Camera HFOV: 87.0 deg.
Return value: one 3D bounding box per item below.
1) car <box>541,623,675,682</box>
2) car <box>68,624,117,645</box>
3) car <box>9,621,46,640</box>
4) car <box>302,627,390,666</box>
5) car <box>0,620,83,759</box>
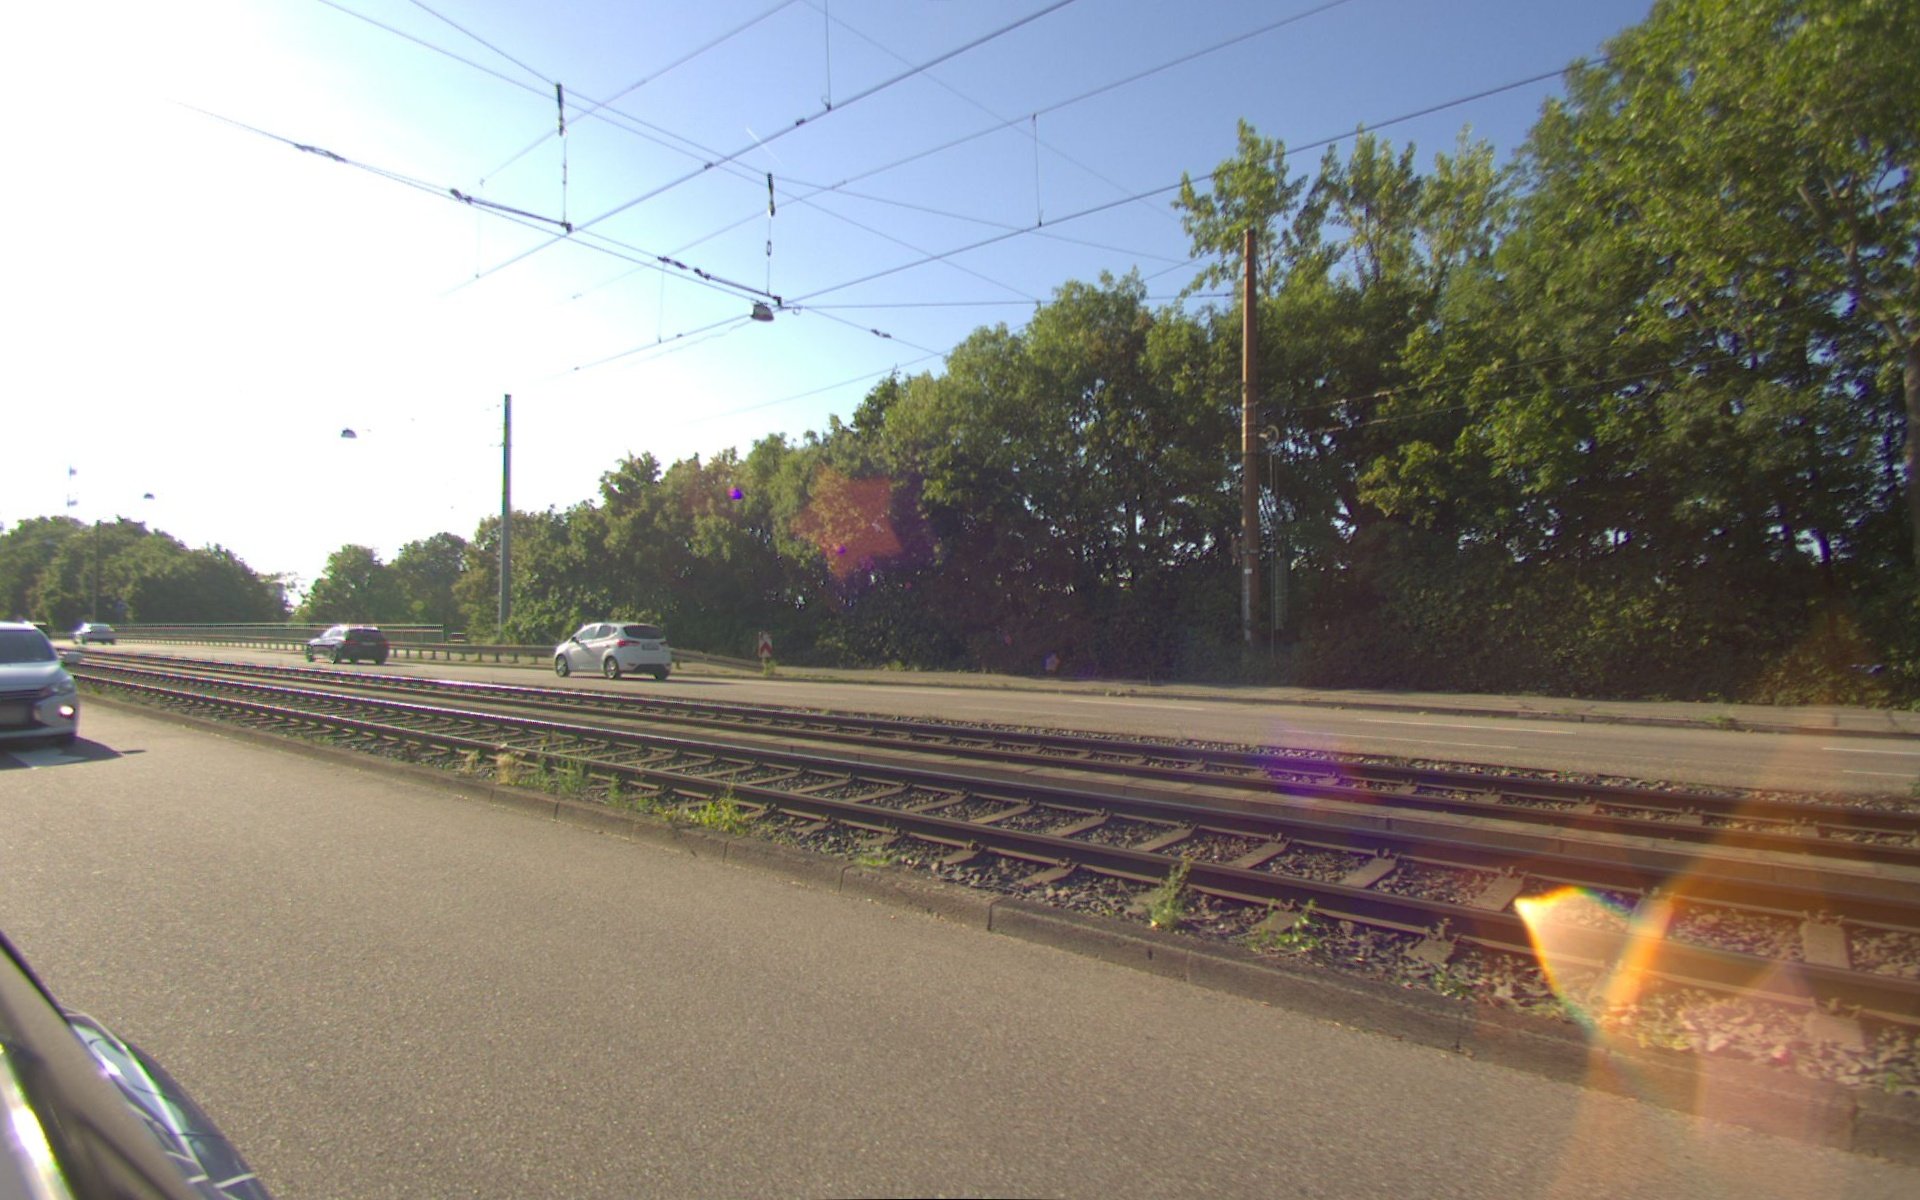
[{"bbox_3d":[-10.120,1.476,28.943,4.187,1.568,1.674,-1,-4,40],"label":"car"},{"bbox_3d":[-61.725,2.448,71.992,4.872,1.425,1.737,-1,-4,39],"label":"car"},{"bbox_3d":[-81.069,2.658,87.970,4.796,1.592,1.692,-1,-2,39],"label":"car"},{"bbox_3d":[-24.198,1.815,39.817,4.499,1.443,1.640,-1,-4,41],"label":"car"},{"bbox_3d":[-12.177,1.025,12.371,3.860,1.523,1.687,-1,-1,41],"label":"car"}]
